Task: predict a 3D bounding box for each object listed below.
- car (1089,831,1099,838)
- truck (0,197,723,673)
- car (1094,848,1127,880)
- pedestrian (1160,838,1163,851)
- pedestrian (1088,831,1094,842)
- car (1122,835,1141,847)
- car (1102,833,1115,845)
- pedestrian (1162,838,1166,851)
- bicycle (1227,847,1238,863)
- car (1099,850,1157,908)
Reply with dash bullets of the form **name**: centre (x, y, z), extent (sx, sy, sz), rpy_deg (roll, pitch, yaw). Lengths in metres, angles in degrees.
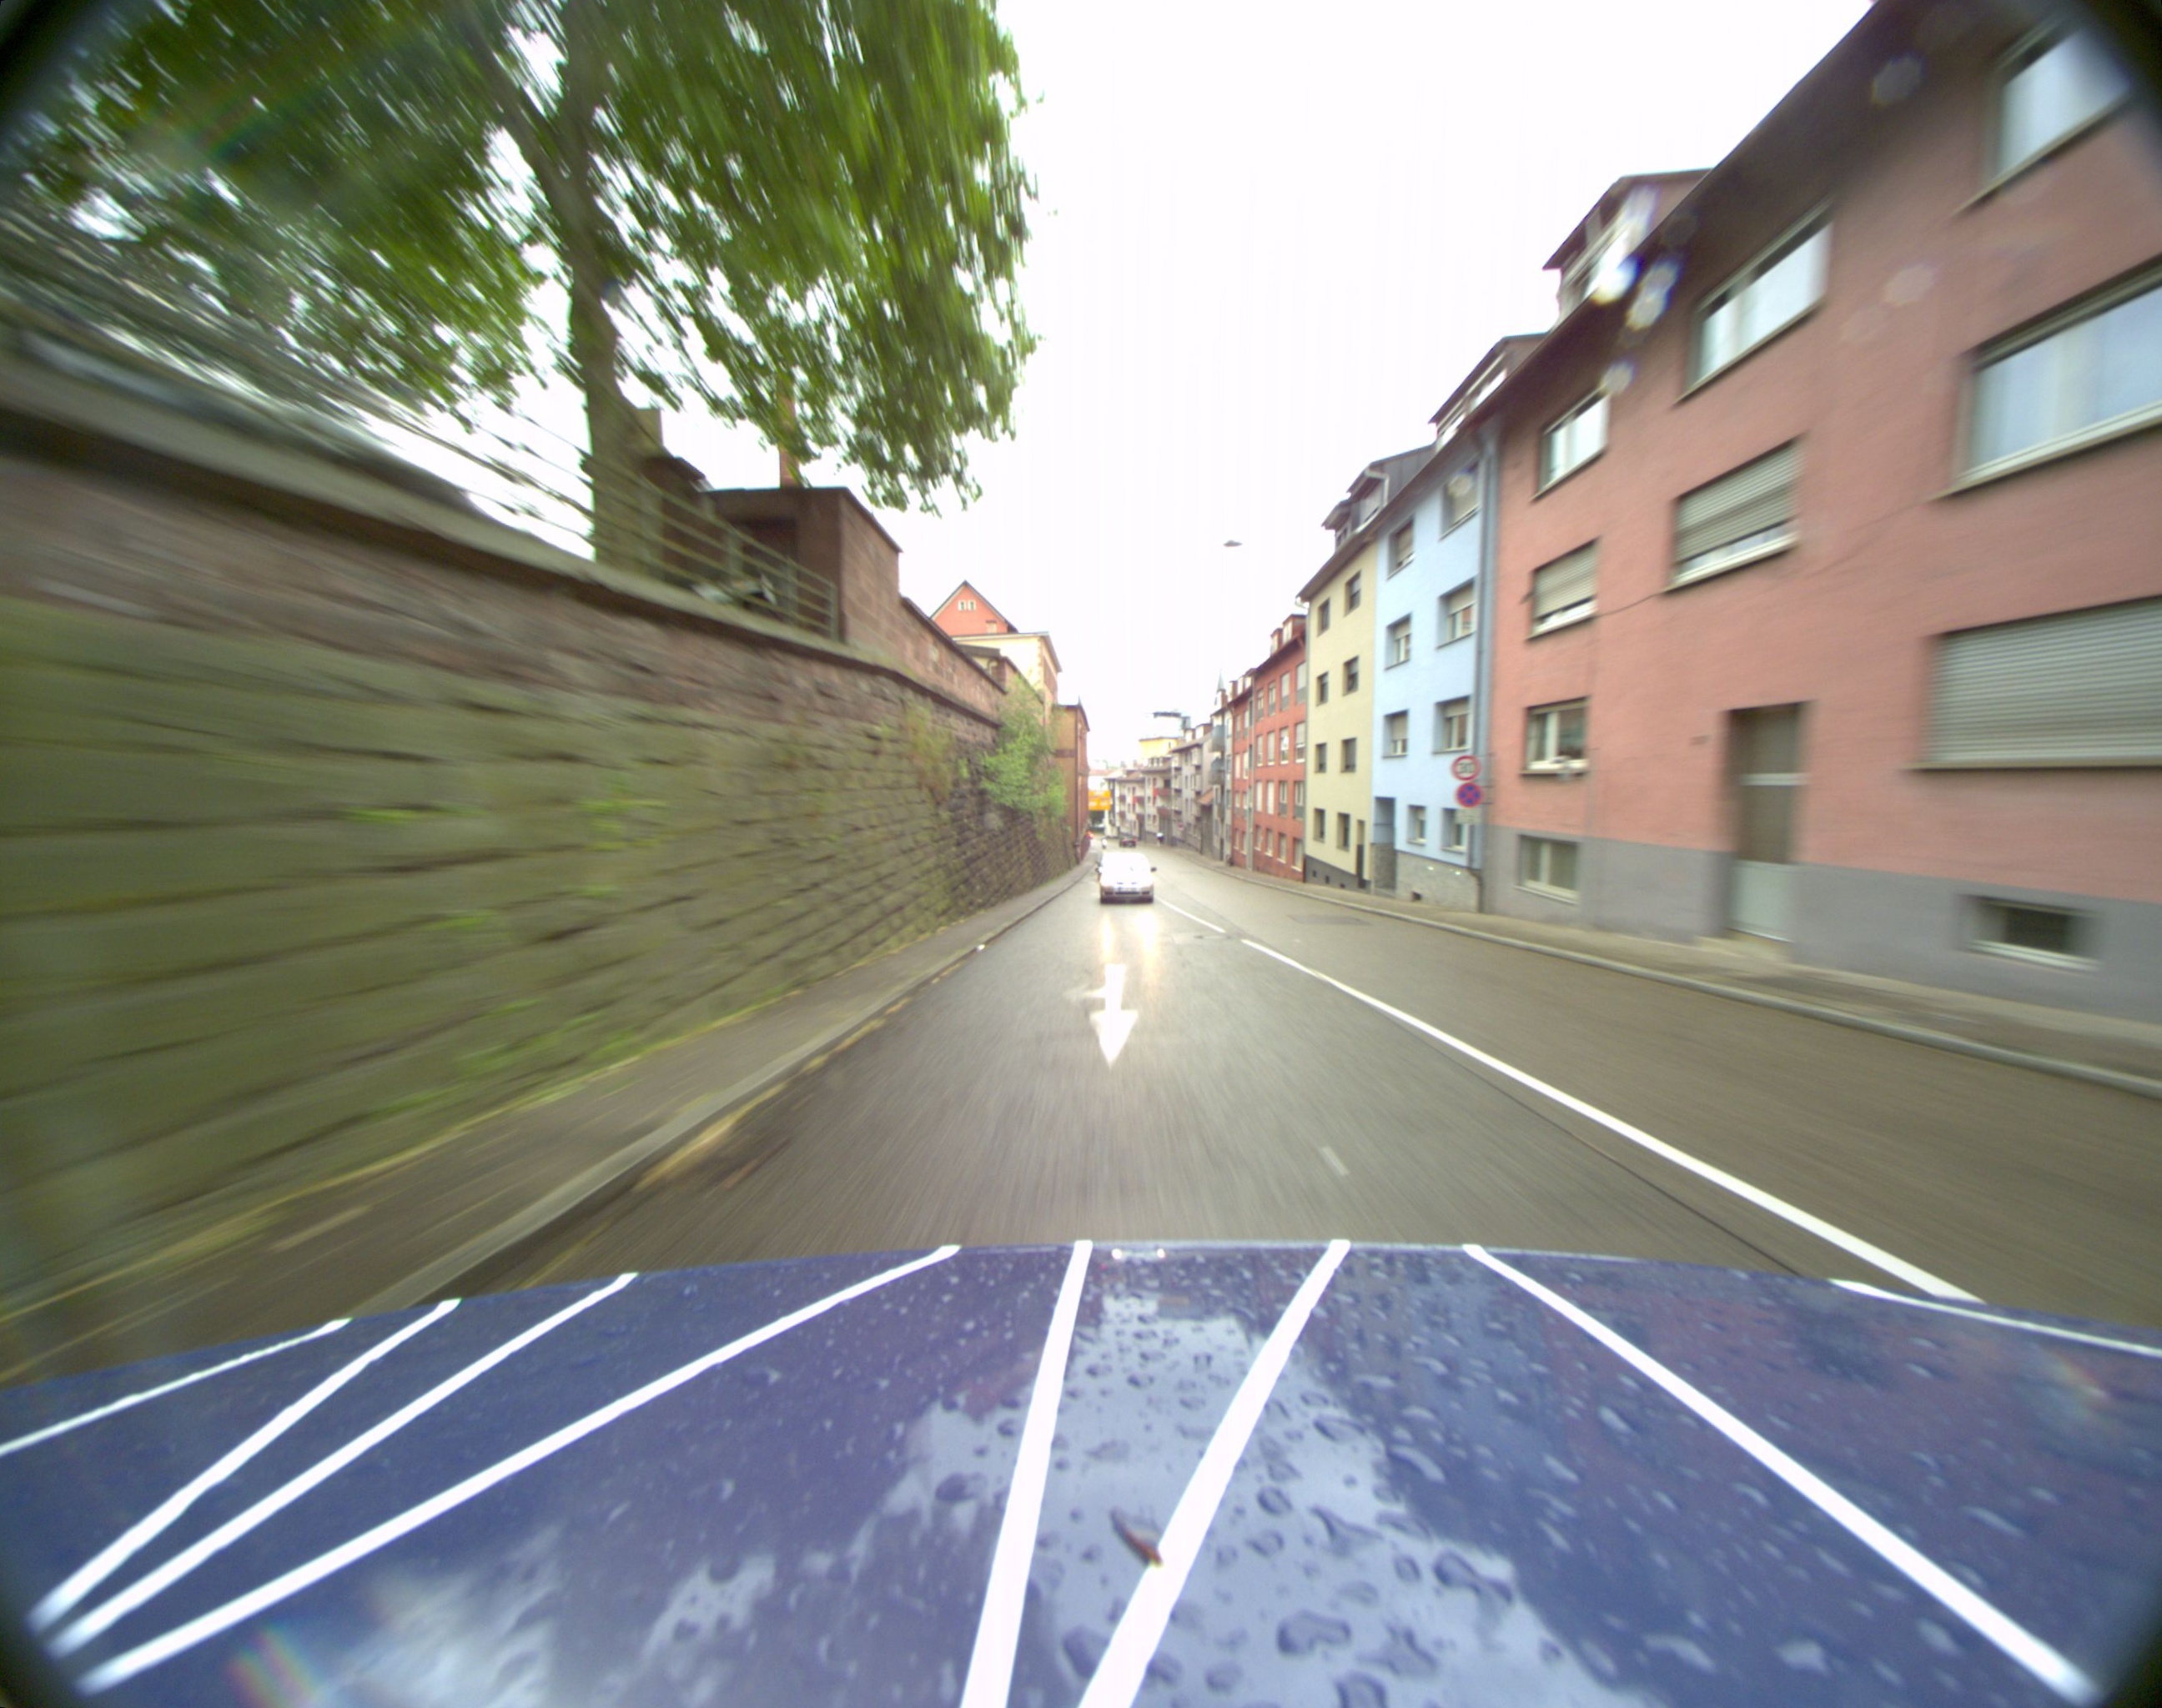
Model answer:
- **car**: centre (2.601, -3.834, 152.126), extent (1.714, 1.317, 3.368), rpy_deg (-2, 2, -4)
- **truck**: centre (-9.566, -4.960, 12.252), extent (2.755, 3.296, 11.204), rpy_deg (1, 10, -3)
- **car**: centre (1.642, 0.528, 42.459), extent (1.719, 1.528, 3.999), rpy_deg (-2, 2, 2)
- **pedestrian**: centre (11.162, -1.320, 105.300), extent (0.381, 1.770, 0.499), rpy_deg (-2, 3, -6)
- **pedestrian**: centre (1.451, -2.539, 109.045), extent (0.871, 1.532, 1.087), rpy_deg (-2, 0, 0)
- **car**: centre (6.908, -1.811, 104.113), extent (1.999, 1.470, 3.997), rpy_deg (2, 2, -3)
- **car**: centre (3.667, -1.982, 103.212), extent (1.637, 1.521, 4.000), rpy_deg (-2, 0, 1)
- **pedestrian**: centre (11.532, -1.335, 105.337), extent (0.355, 1.770, 0.499), rpy_deg (-2, 3, -6)
- **bicycle**: centre (11.432, 0.098, 57.393), extent (0.572, 1.111, 2.039), rpy_deg (-3, 2, 4)
- **car**: centre (1.503, 0.752, 24.908), extent (1.719, 1.528, 3.999), rpy_deg (-2, 2, 3)
